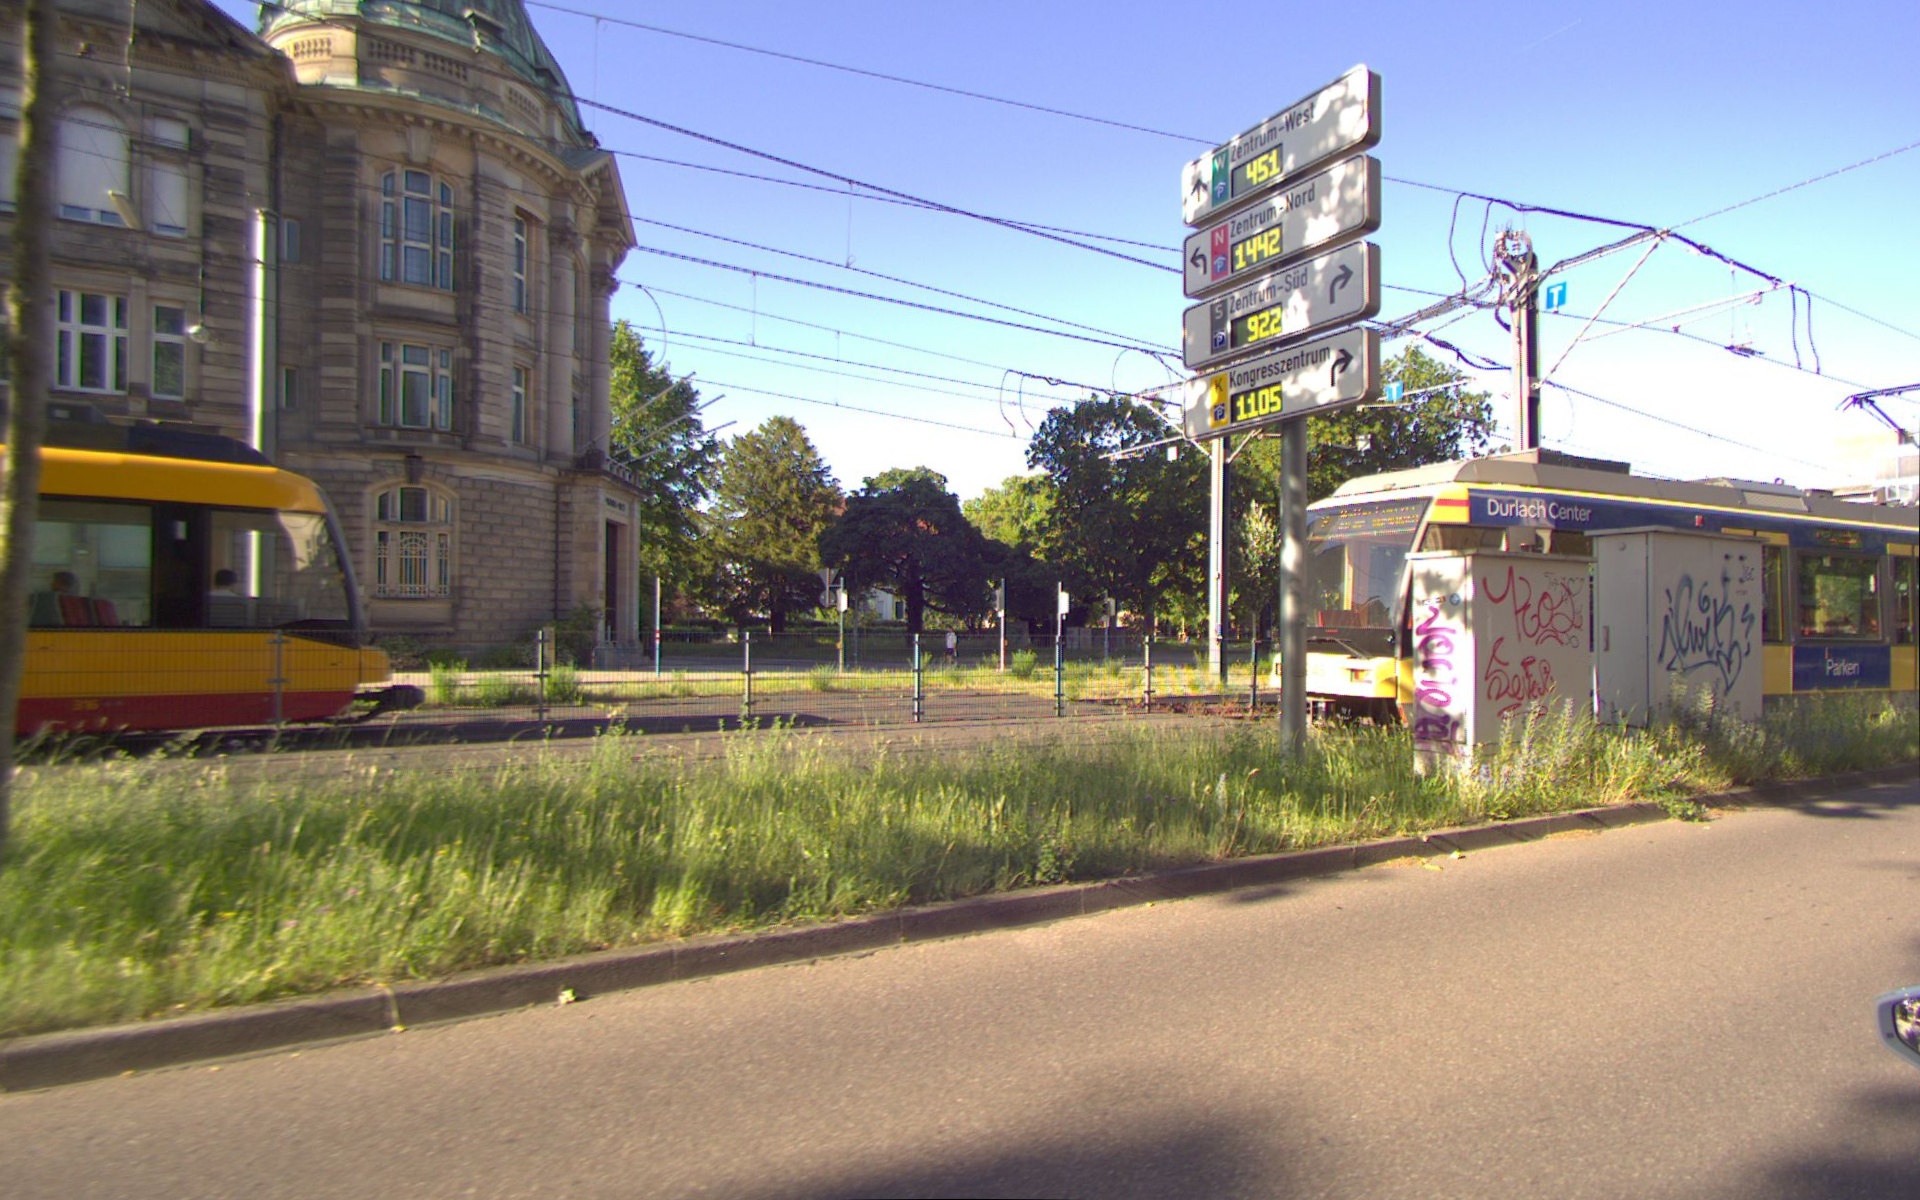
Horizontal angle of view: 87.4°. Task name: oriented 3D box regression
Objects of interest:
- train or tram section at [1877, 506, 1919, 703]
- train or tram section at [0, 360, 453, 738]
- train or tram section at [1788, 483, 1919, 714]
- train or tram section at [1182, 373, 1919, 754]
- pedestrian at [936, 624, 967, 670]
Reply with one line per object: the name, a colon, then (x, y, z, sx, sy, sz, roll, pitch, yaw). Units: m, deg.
train or tram section: (24.291, 0.274, 22.006, 10.672, 3.949, 2.939, 2, 0, -29)
train or tram section: (-11.271, -0.528, 9.647, 11.164, 3.530, 2.944, 2, -1, -33)
train or tram section: (17.939, 0.035, 18.372, 3.815, 3.949, 2.945, 2, 0, -26)
train or tram section: (9.864, -0.145, 14.460, 14.079, 3.862, 2.920, 2, 0, -25)
pedestrian: (-0.341, 1.850, 39.807, 0.747, 1.796, 0.921, 2, 0, 38)
